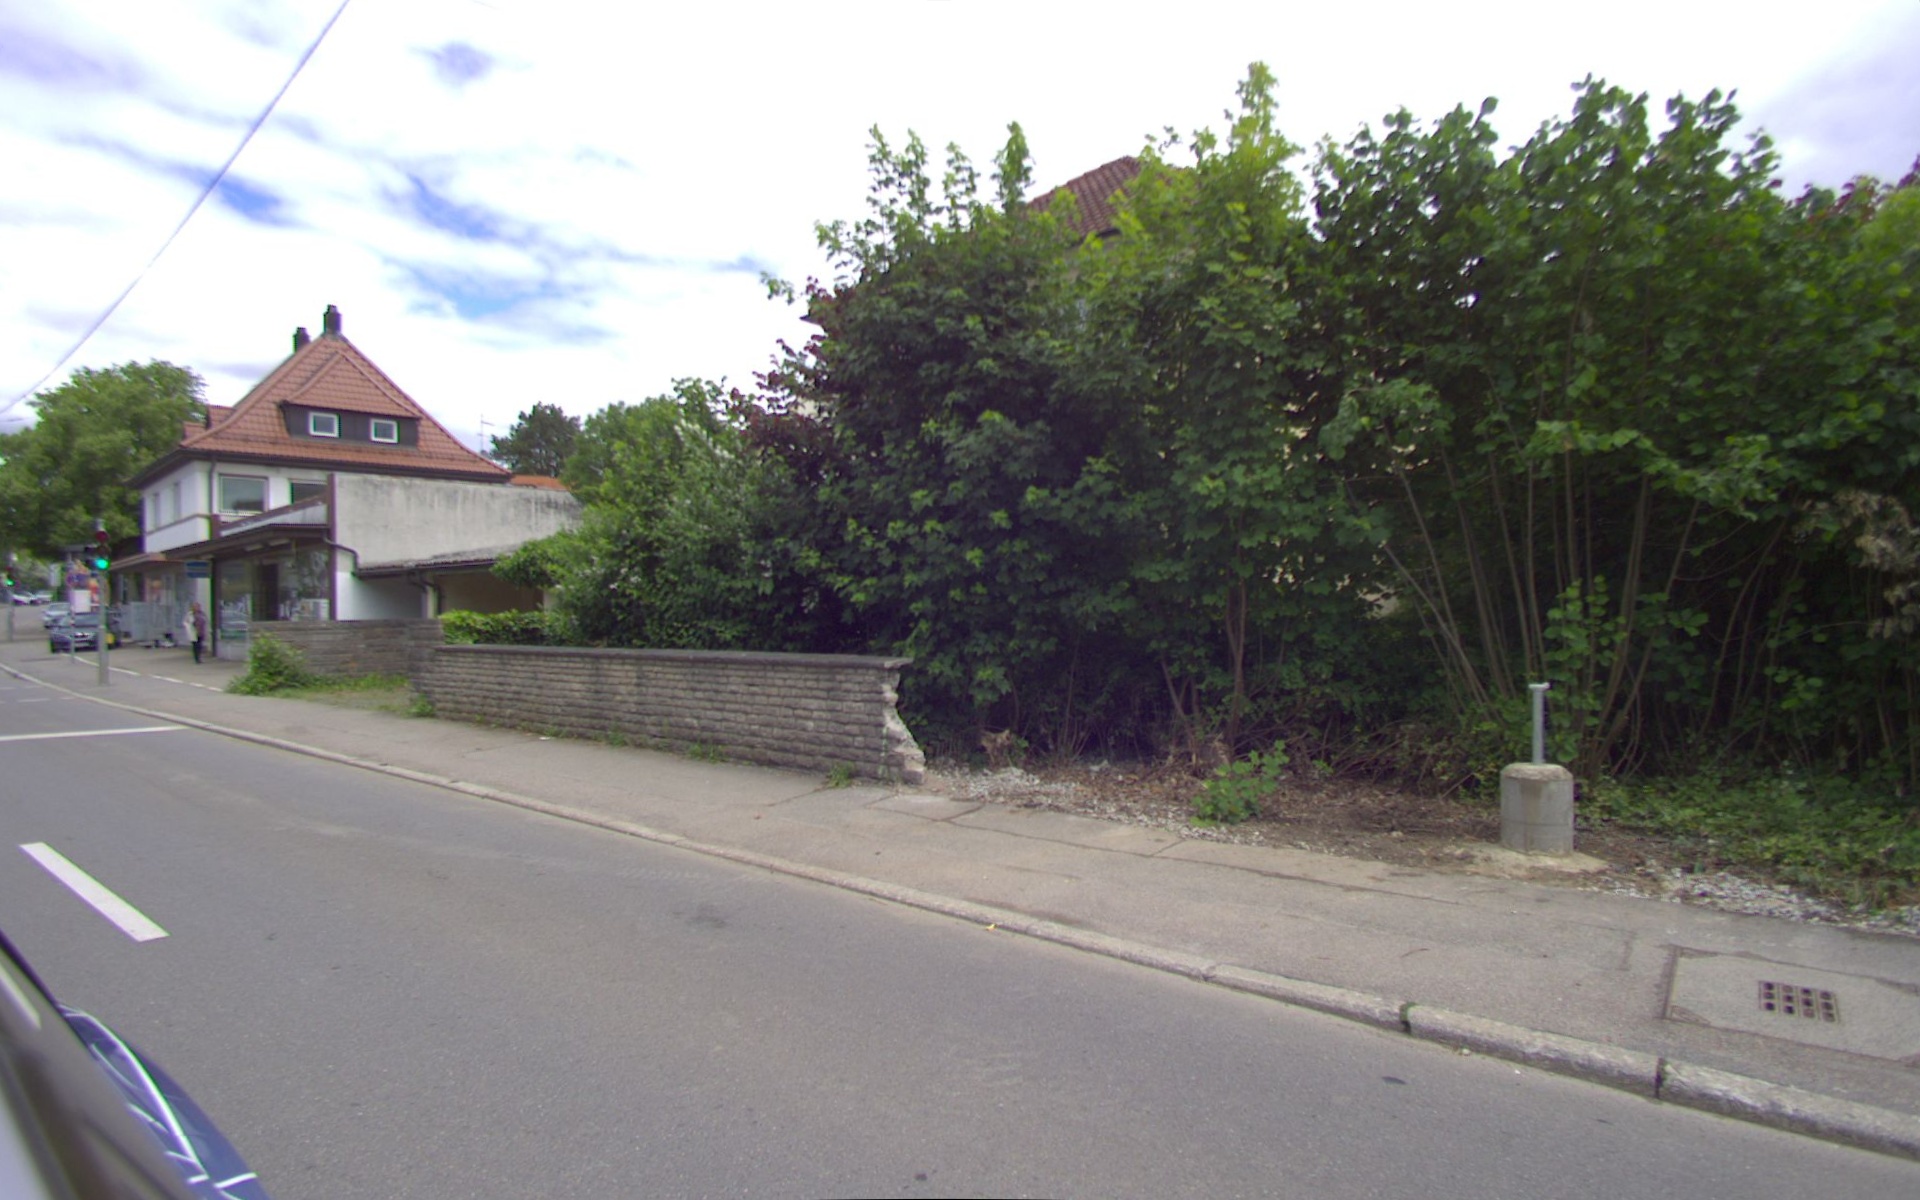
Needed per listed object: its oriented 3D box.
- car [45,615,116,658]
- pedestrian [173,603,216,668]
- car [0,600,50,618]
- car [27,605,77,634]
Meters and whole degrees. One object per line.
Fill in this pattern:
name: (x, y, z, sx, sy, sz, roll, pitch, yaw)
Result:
car: (-32.641, 1.314, 37.641, 1.796, 1.361, 3.398, -2, 2, -39)
pedestrian: (-21.479, 0.979, 28.387, 0.604, 1.757, 0.811, 0, 2, 41)
car: (-102.120, 0.957, 110.457, 3.935, 1.752, 2.005, -2, 2, -37)
car: (-56.173, 1.169, 62.572, 3.997, 1.690, 1.749, 0, 2, 41)
